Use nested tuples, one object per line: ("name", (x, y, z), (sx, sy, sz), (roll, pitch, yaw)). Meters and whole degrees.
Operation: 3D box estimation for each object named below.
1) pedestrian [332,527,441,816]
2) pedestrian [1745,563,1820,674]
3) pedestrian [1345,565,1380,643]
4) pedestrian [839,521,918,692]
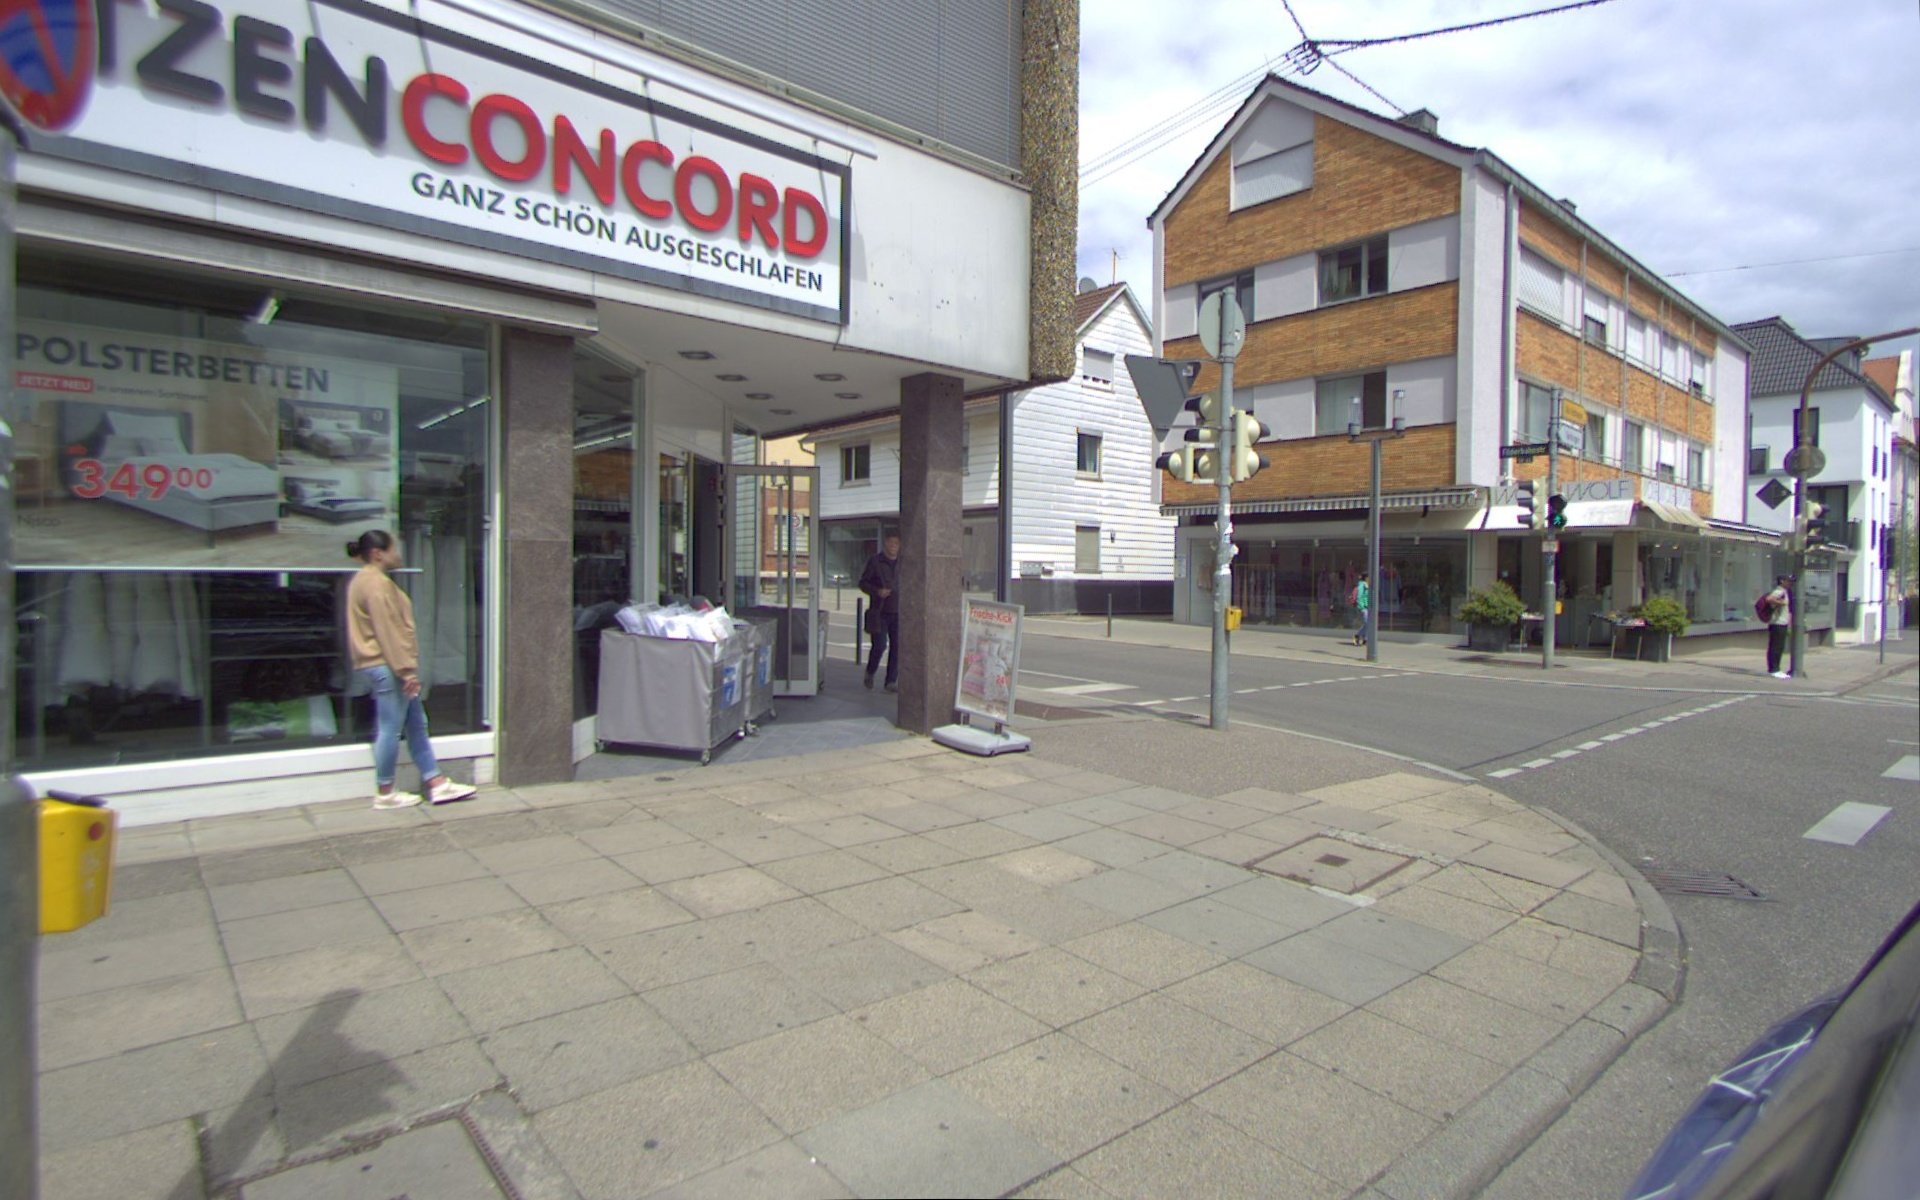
("pedestrian", (-3.106, 0.357, 5.508), (0.490, 1.476, 0.506), (1, 4, -28))
("pedestrian", (14.268, 0.294, 17.569), (0.605, 1.836, 0.772), (5, 3, 17))
("pedestrian", (8.322, 0.079, 20.903), (0.584, 1.579, 0.523), (0, 1, 33))
("pedestrian", (-0.858, 0.055, 10.716), (0.572, 1.726, 0.617), (4, 2, 17))
